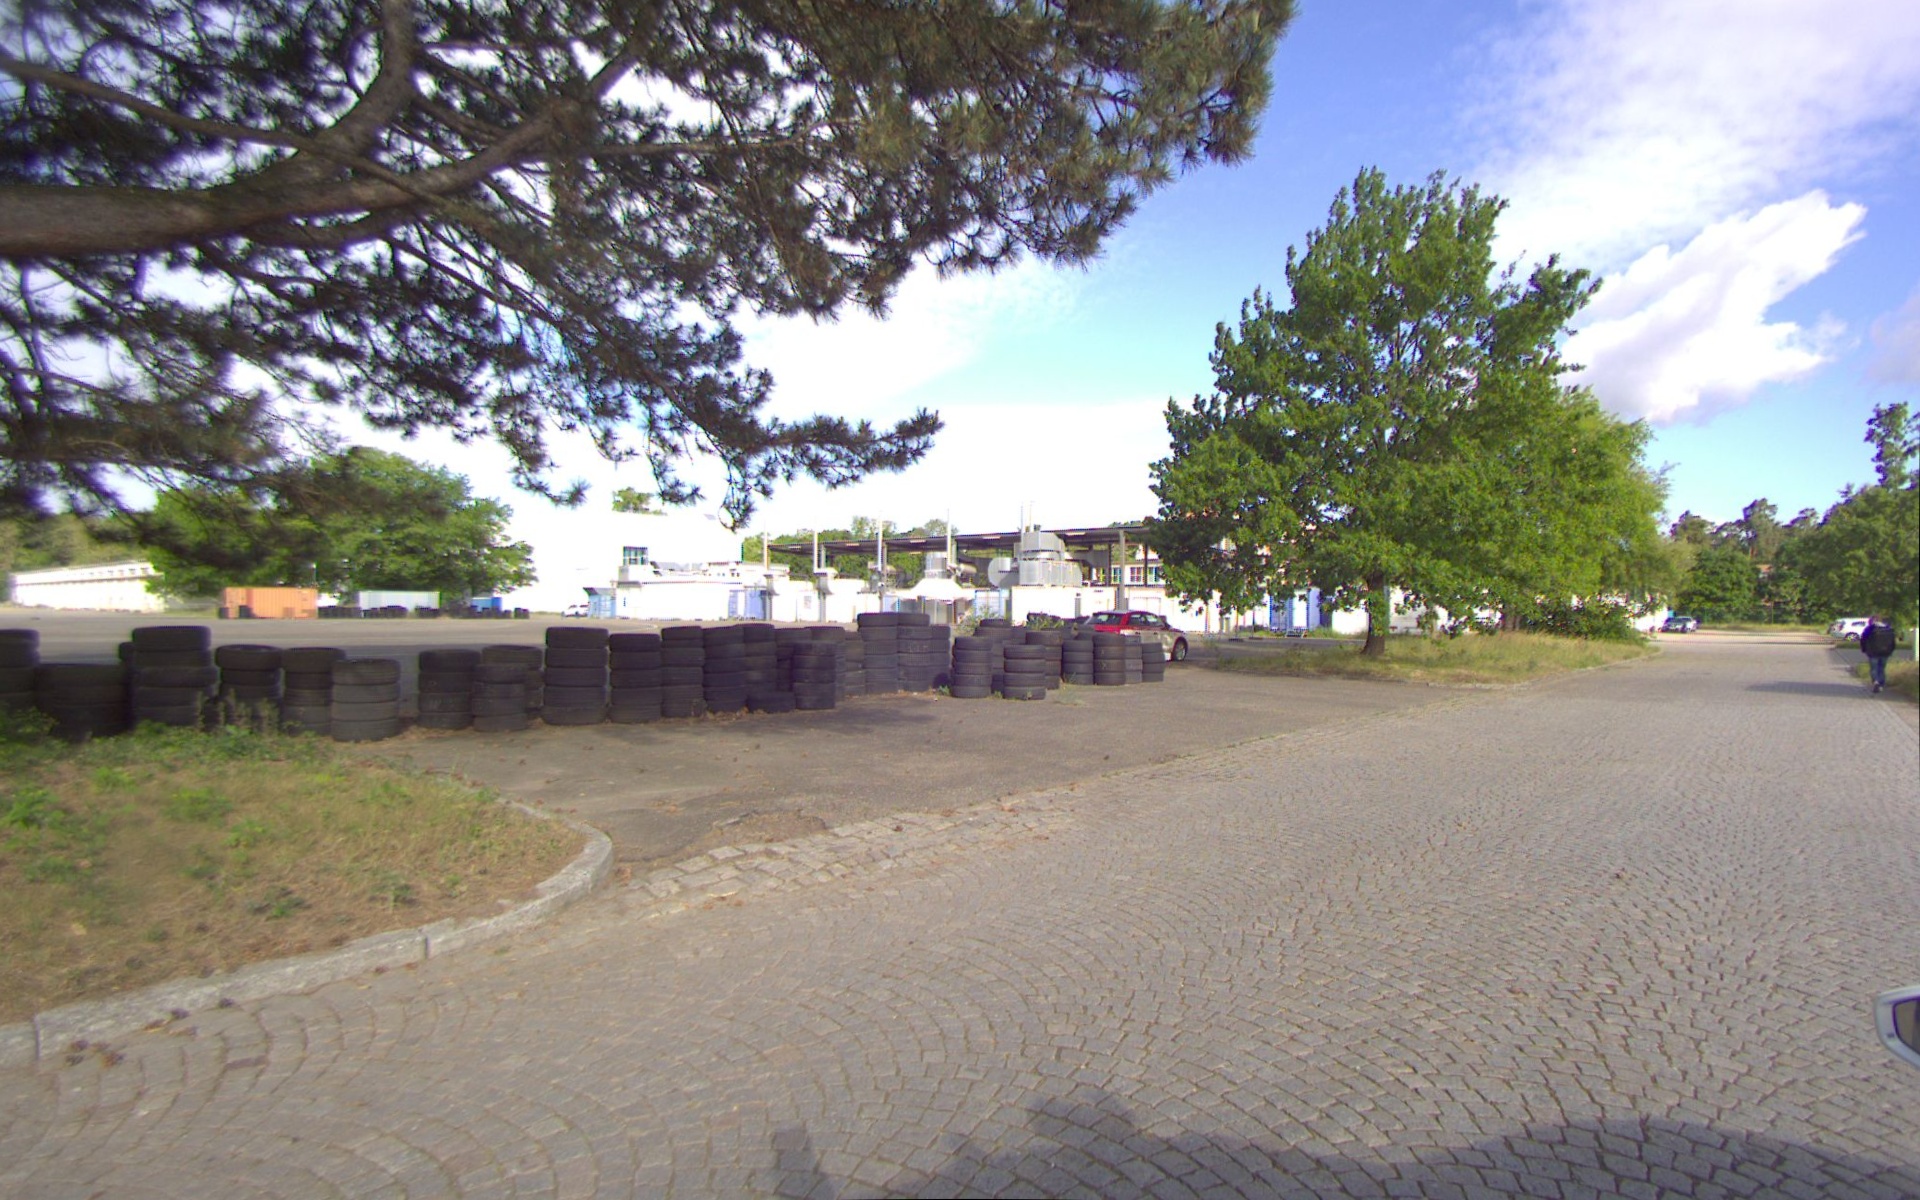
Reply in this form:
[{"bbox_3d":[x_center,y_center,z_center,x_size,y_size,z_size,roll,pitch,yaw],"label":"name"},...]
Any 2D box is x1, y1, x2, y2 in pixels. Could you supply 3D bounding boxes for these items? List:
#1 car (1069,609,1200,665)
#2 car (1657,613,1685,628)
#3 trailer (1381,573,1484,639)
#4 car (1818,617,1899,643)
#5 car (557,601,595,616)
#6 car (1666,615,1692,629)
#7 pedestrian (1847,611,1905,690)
[{"bbox_3d":[5.043,1.023,28.731,3.973,1.483,1.706,1,0,-44],"label":"car"},{"bbox_3d":[66.337,1.917,93.792,1.966,1.389,3.989,0,0,34],"label":"car"},{"bbox_3d":[27.853,0.381,58.907,2.884,3.517,9.849,0,0,41],"label":"trailer"},{"bbox_3d":[60.256,1.971,67.426,1.987,1.665,3.947,1,0,-44],"label":"car"},{"bbox_3d":[-42.403,0.971,110.960,4.476,1.585,1.867,0,0,38],"label":"car"},{"bbox_3d":[72.794,2.218,101.728,1.966,1.394,3.989,0,-1,34],"label":"car"},{"bbox_3d":[18.976,1.014,20.828,0.855,1.579,1.023,0,0,41],"label":"pedestrian"}]
